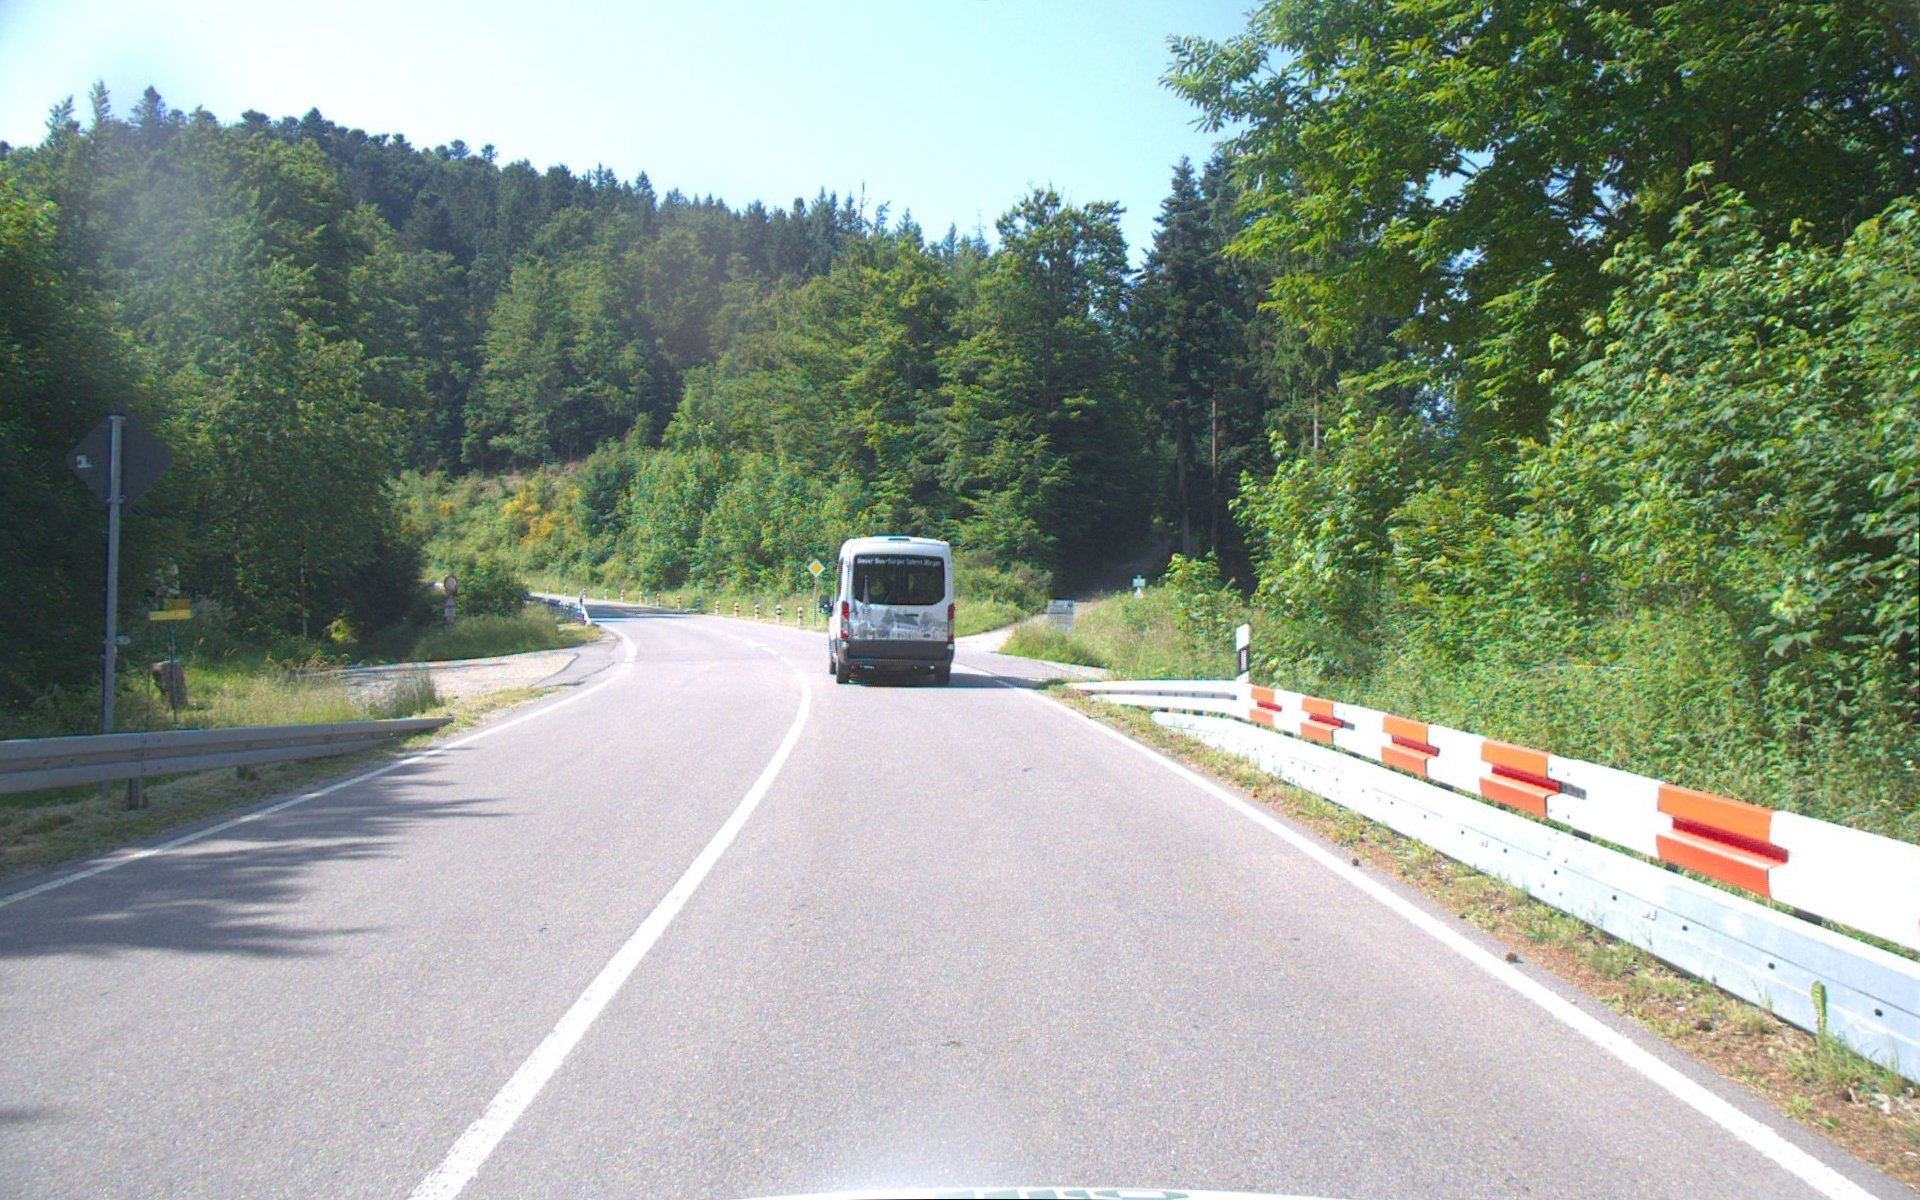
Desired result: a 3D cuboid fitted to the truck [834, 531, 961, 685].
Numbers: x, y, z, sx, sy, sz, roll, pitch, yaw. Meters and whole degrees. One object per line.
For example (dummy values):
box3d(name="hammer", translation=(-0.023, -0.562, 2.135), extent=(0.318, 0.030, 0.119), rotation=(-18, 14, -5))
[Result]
box3d(name="truck", translation=(-1.231, 0.119, 29.986), extent=(2.074, 2.542, 5.354), rotation=(0, 0, -5))
